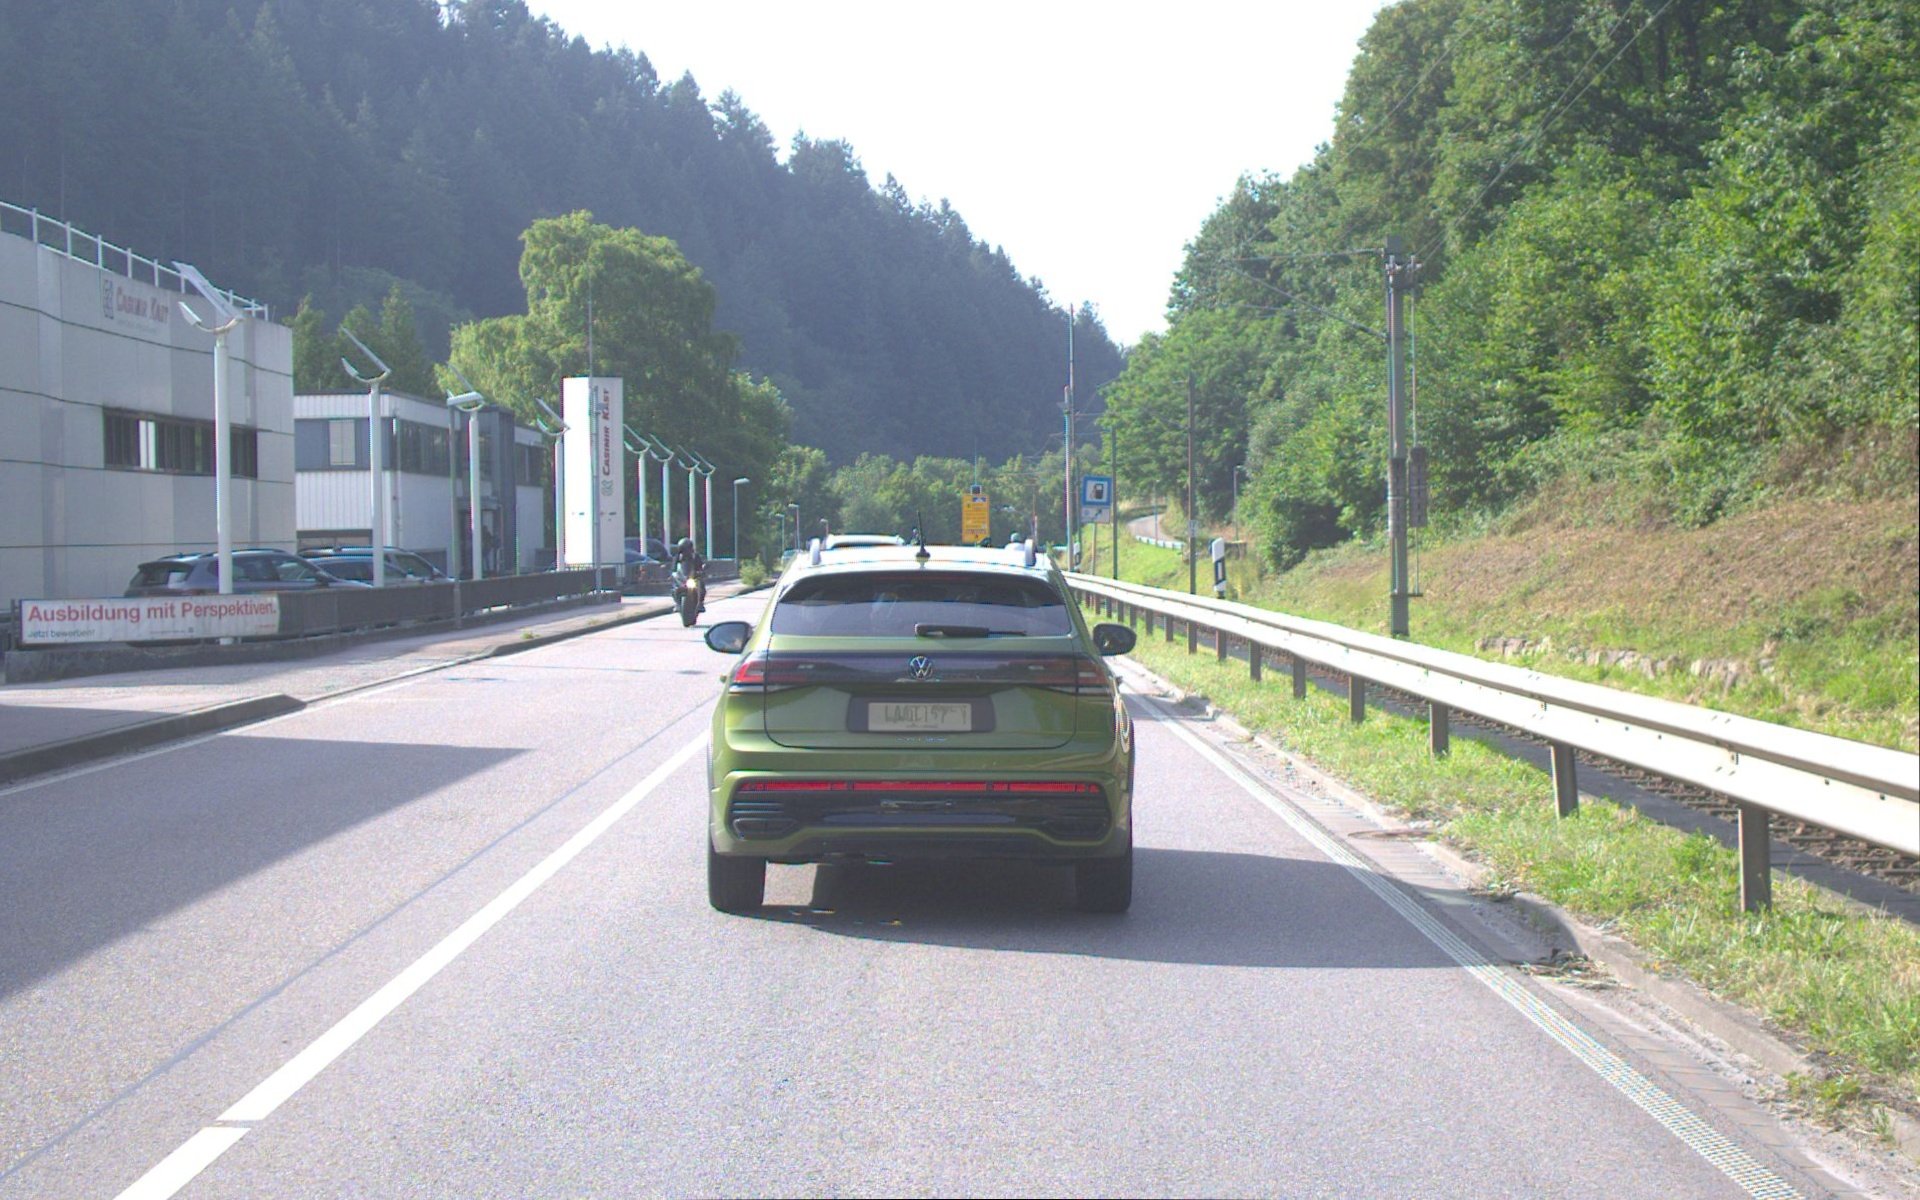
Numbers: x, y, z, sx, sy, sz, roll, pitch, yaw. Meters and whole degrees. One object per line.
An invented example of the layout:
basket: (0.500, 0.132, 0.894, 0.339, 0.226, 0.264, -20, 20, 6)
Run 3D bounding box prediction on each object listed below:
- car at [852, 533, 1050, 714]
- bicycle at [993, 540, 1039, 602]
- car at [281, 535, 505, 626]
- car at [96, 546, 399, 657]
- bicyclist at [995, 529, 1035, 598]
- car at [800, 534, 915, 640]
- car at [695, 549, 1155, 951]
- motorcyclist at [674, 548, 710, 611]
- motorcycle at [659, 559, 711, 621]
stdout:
car: (-0.120, 0.171, 32.269, 1.739, 1.596, 4.000, 0, 1, -1)
bicycle: (1.135, -0.606, 70.497, 0.811, 1.246, 2.123, 0, 1, -2)
car: (-11.037, -0.408, 67.104, 1.780, 1.702, 4.101, 1, 1, 42)
car: (-10.724, -0.013, 51.951, 1.887, 1.586, 4.165, 1, 1, 42)
bicyclist: (1.133, -0.760, 70.594, 0.781, 1.407, 0.675, 0, 1, -2)
car: (-1.590, -0.232, 53.821, 1.739, 1.596, 4.000, 0, 1, -1)
car: (-0.175, 0.536, 15.000, 1.739, 1.503, 4.000, 0, 1, -1)
motorcyclist: (-4.826, -0.368, 61.927, 0.586, 1.121, 0.637, 0, 1, 0)
motorcycle: (-4.882, -0.185, 61.150, 0.741, 1.065, 2.492, 0, 1, 0)
